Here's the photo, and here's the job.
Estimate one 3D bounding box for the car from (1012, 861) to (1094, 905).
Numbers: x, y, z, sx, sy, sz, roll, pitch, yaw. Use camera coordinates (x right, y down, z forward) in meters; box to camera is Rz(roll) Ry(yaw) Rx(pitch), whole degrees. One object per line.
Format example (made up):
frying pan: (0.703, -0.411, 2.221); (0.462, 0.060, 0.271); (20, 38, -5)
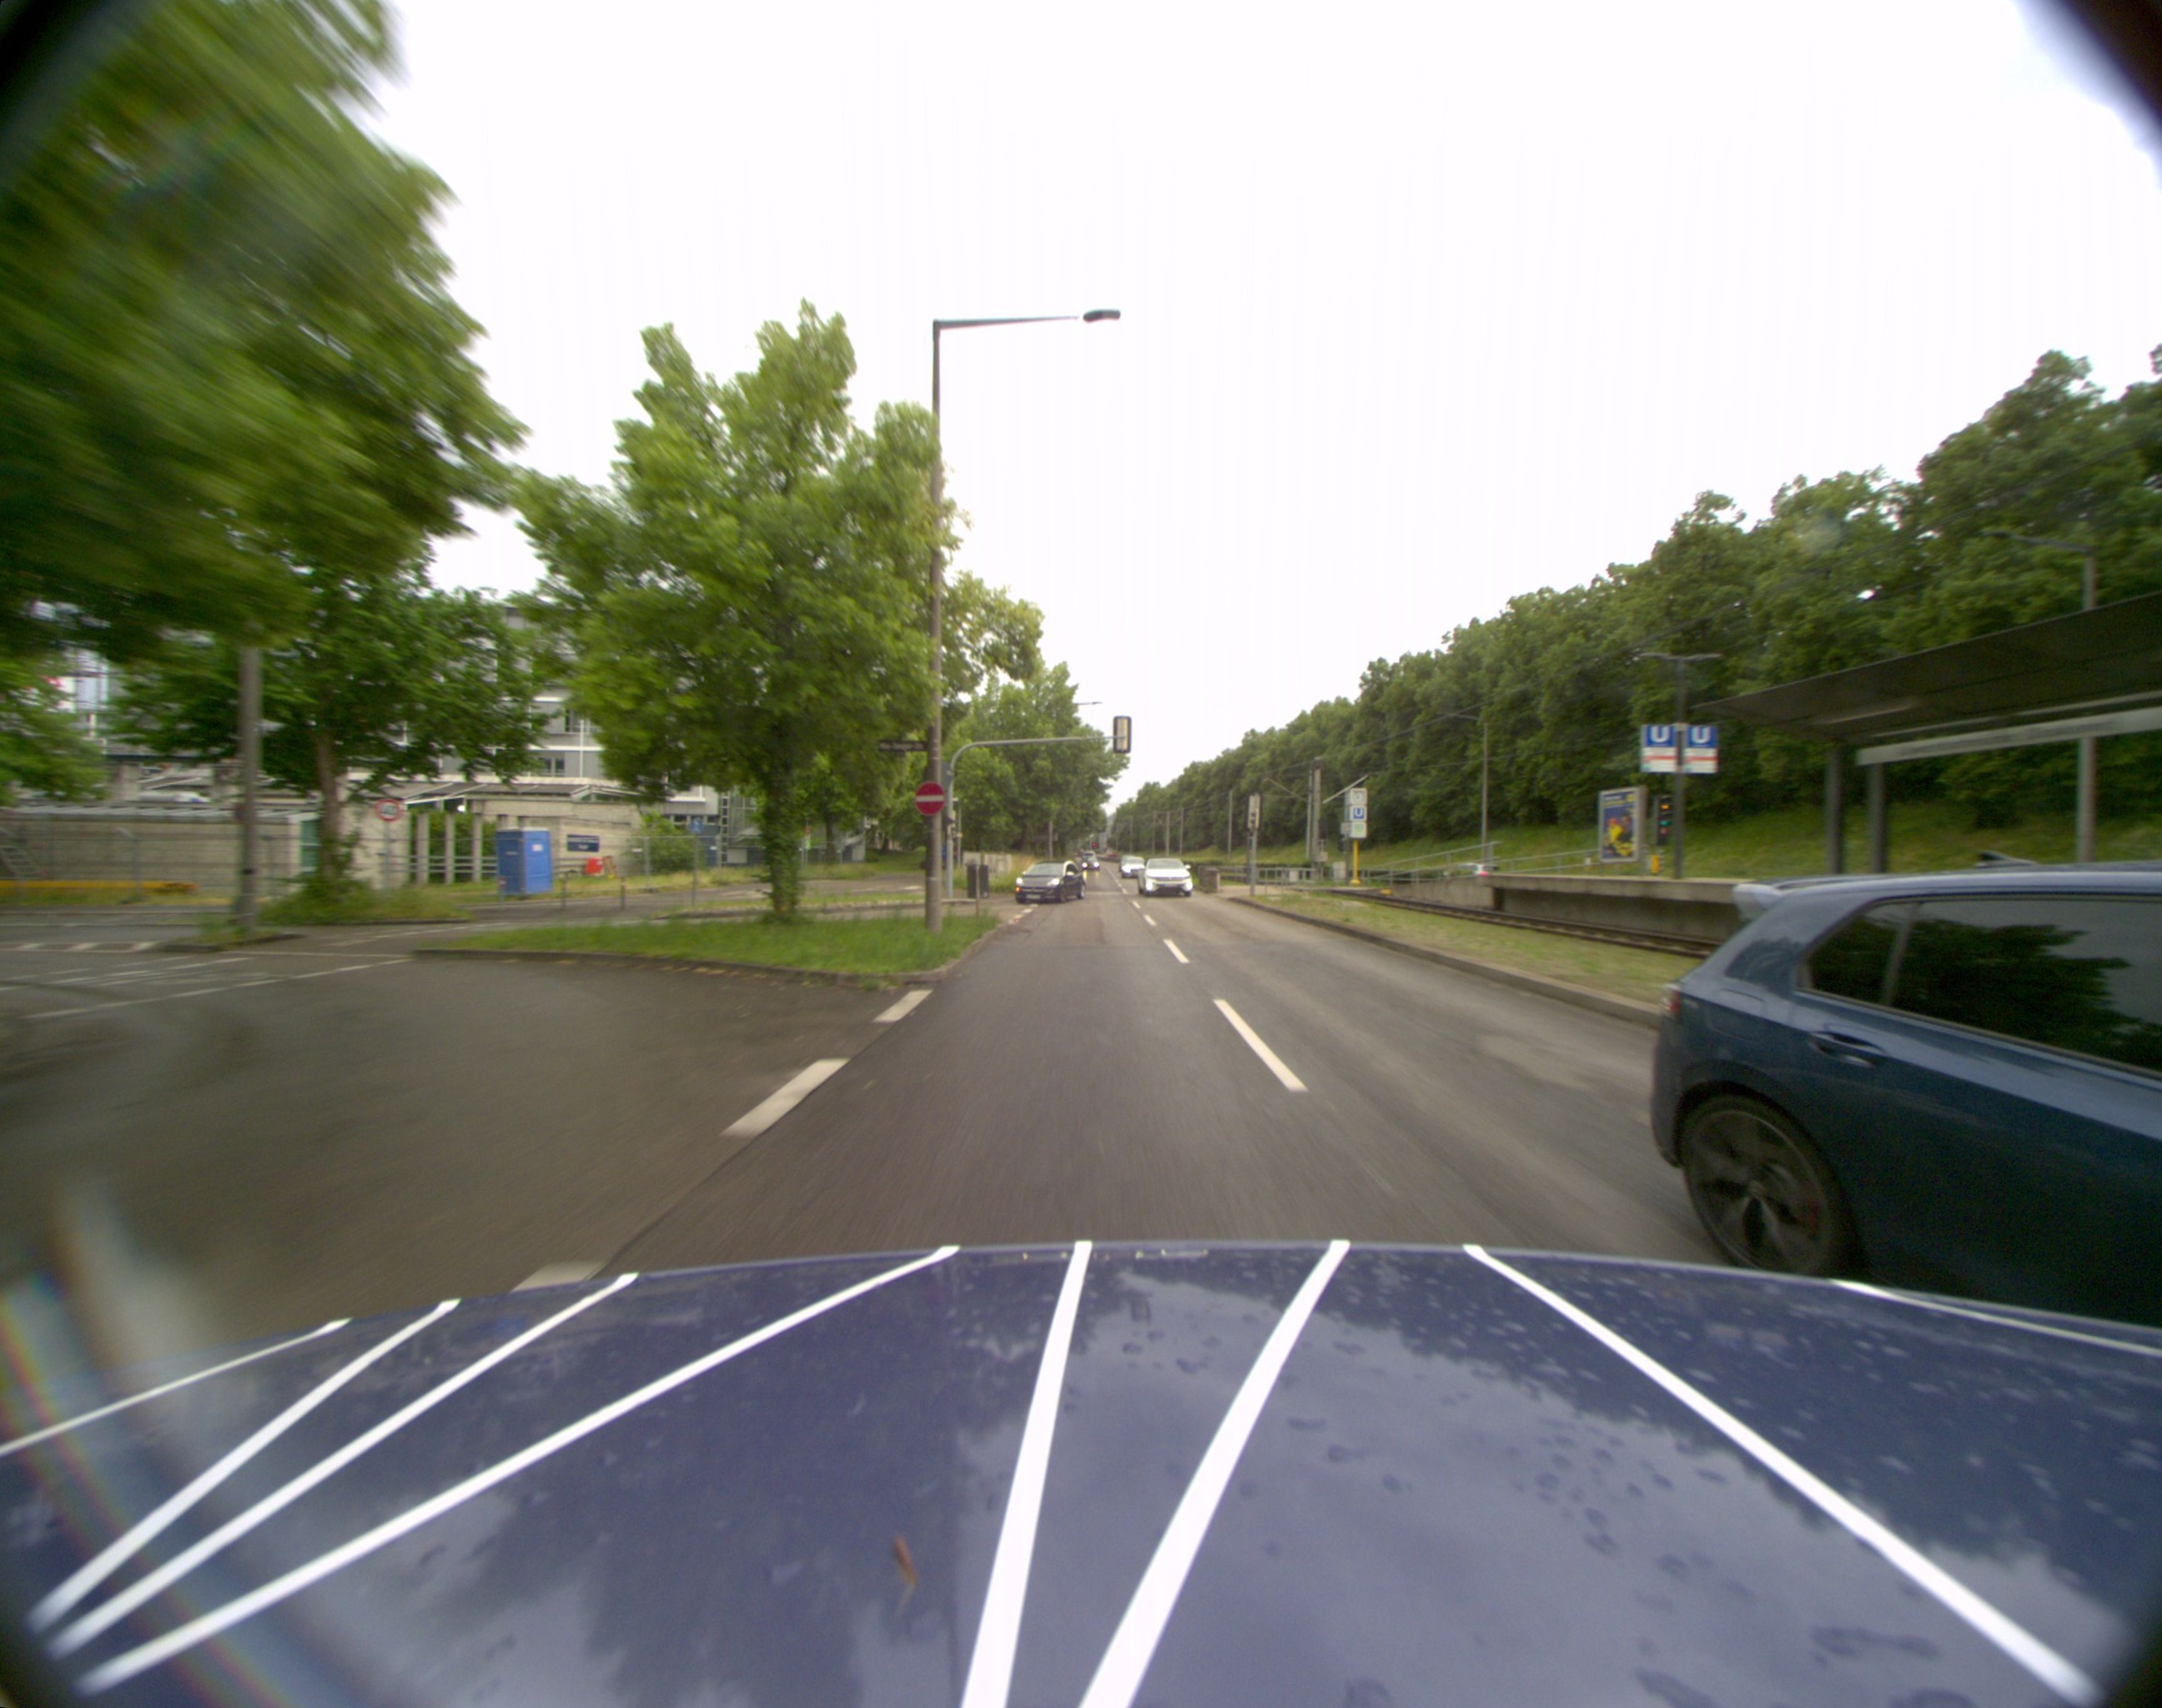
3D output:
car: (-0.910, 0.978, 27.652); (1.708, 1.425, 4.434); (0, 0, 16)

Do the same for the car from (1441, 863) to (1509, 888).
car: (23.800, 1.285, 46.061); (1.801, 1.395, 3.998); (0, 0, -4)

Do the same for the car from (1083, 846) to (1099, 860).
car: (1.389, -0.172, 109.896); (1.960, 1.914, 4.844); (-2, 0, -2)

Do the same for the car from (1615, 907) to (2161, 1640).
car: (3.108, 0.917, 0.995); (1.812, 1.370, 4.347); (-1, 0, 1)

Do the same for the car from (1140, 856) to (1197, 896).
car: (3.437, 0.838, 30.708); (1.960, 1.457, 4.700); (0, 0, 2)

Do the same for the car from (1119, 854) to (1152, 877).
car: (3.773, 0.765, 53.188); (1.960, 1.472, 4.699); (-2, 0, 0)

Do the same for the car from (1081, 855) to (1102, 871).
car: (0.991, 0.882, 76.549); (1.960, 1.469, 4.698); (-2, 0, -1)
